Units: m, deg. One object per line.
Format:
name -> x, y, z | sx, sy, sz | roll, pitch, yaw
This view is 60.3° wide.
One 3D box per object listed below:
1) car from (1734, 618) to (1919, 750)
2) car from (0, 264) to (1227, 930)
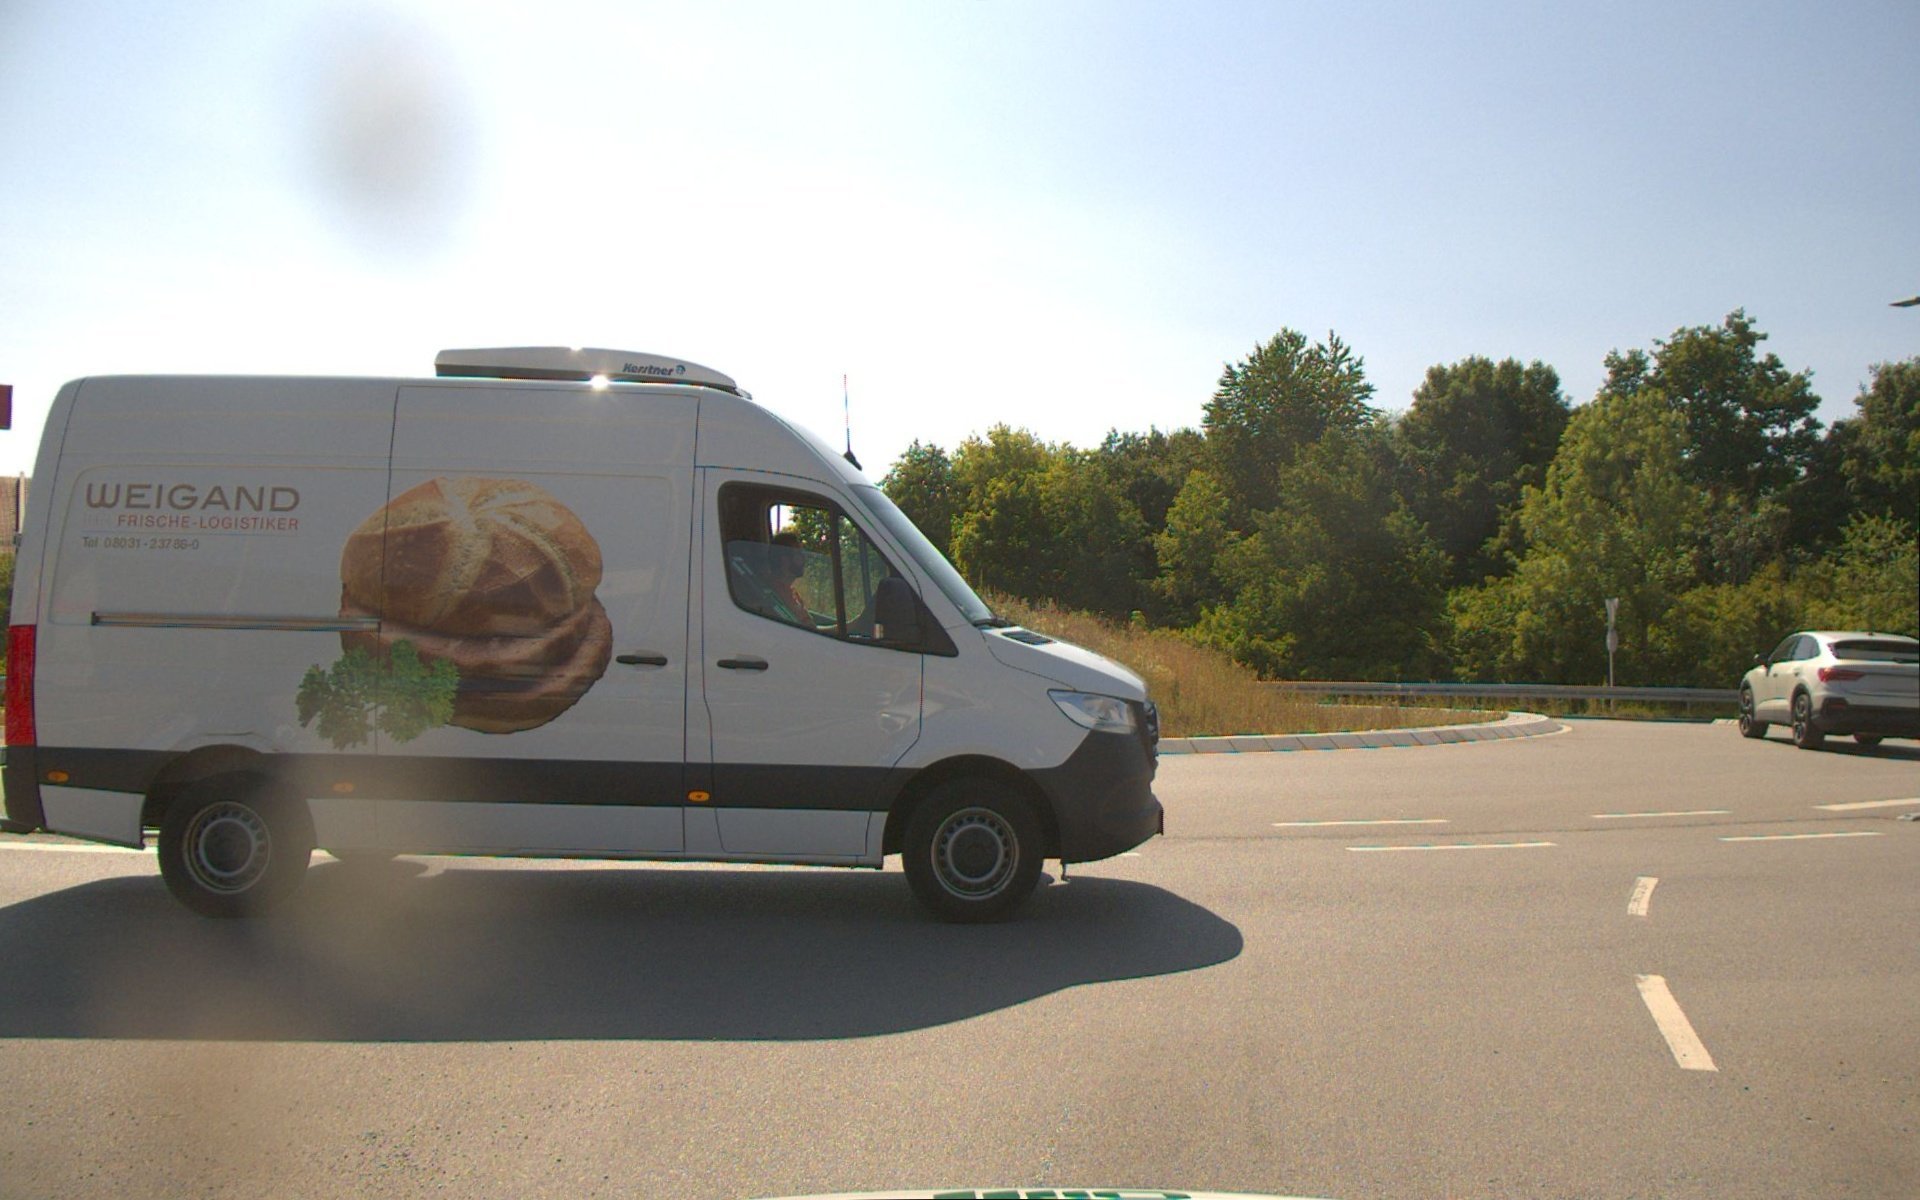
car -> 12.130, 1.073, 22.684 | 1.802, 1.624, 4.328 | 0, -1, 12
car -> -1.767, -0.008, 8.745 | 5.993, 2.972, 2.084 | 1, -1, 0
